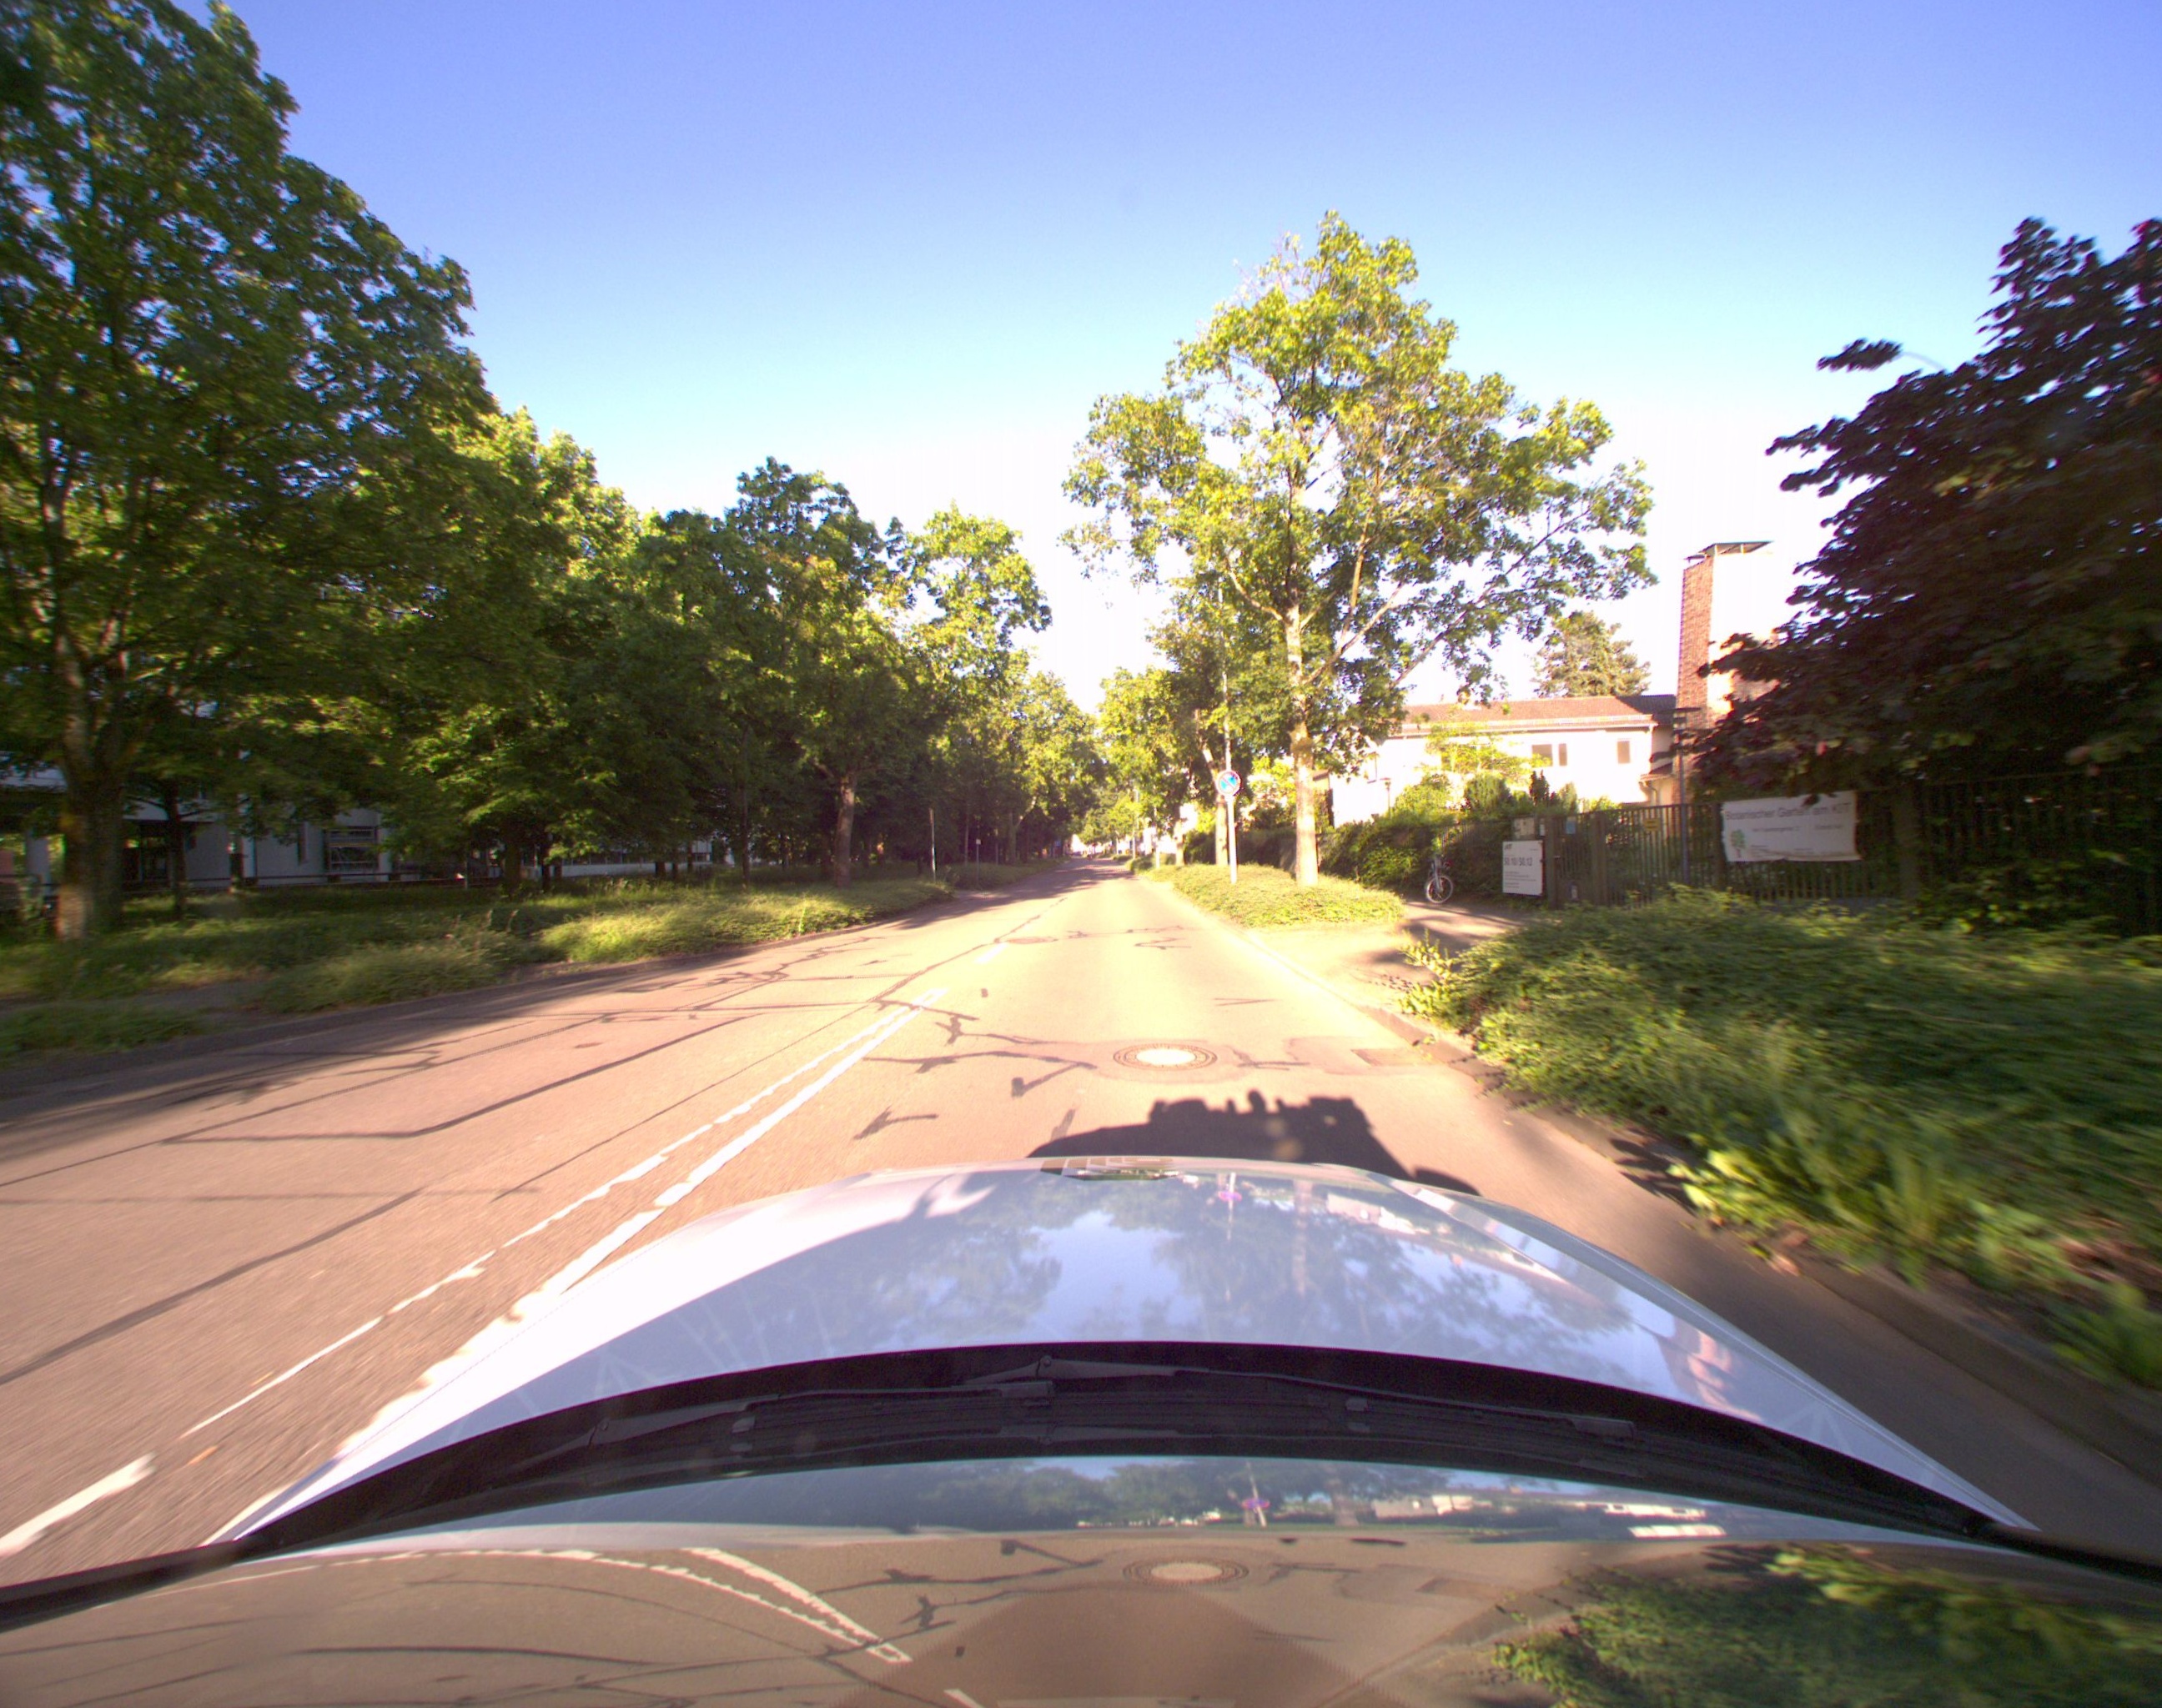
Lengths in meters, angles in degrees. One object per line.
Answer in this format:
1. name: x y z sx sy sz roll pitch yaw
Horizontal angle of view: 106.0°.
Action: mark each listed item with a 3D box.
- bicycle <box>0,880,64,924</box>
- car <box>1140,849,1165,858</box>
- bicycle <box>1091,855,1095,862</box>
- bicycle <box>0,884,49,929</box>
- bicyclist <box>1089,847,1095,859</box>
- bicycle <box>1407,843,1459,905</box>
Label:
1. bicycle: -28.806 1.290 21.342 0.531 1.071 2.647 3 2 18
2. car: 12.911 -0.112 147.427 4.327 1.353 2.148 2 4 7
3. bicycle: 1.689 0.597 115.525 0.437 0.978 1.662 -2 1 1
4. bicycle: -27.800 1.366 20.364 0.530 1.071 2.445 2 2 39
5. bicyclist: 1.613 -0.096 115.467 0.864 1.641 1.115 -1 1 1
6. bicycle: 7.781 0.408 17.932 0.875 1.200 2.340 -4 0 26
